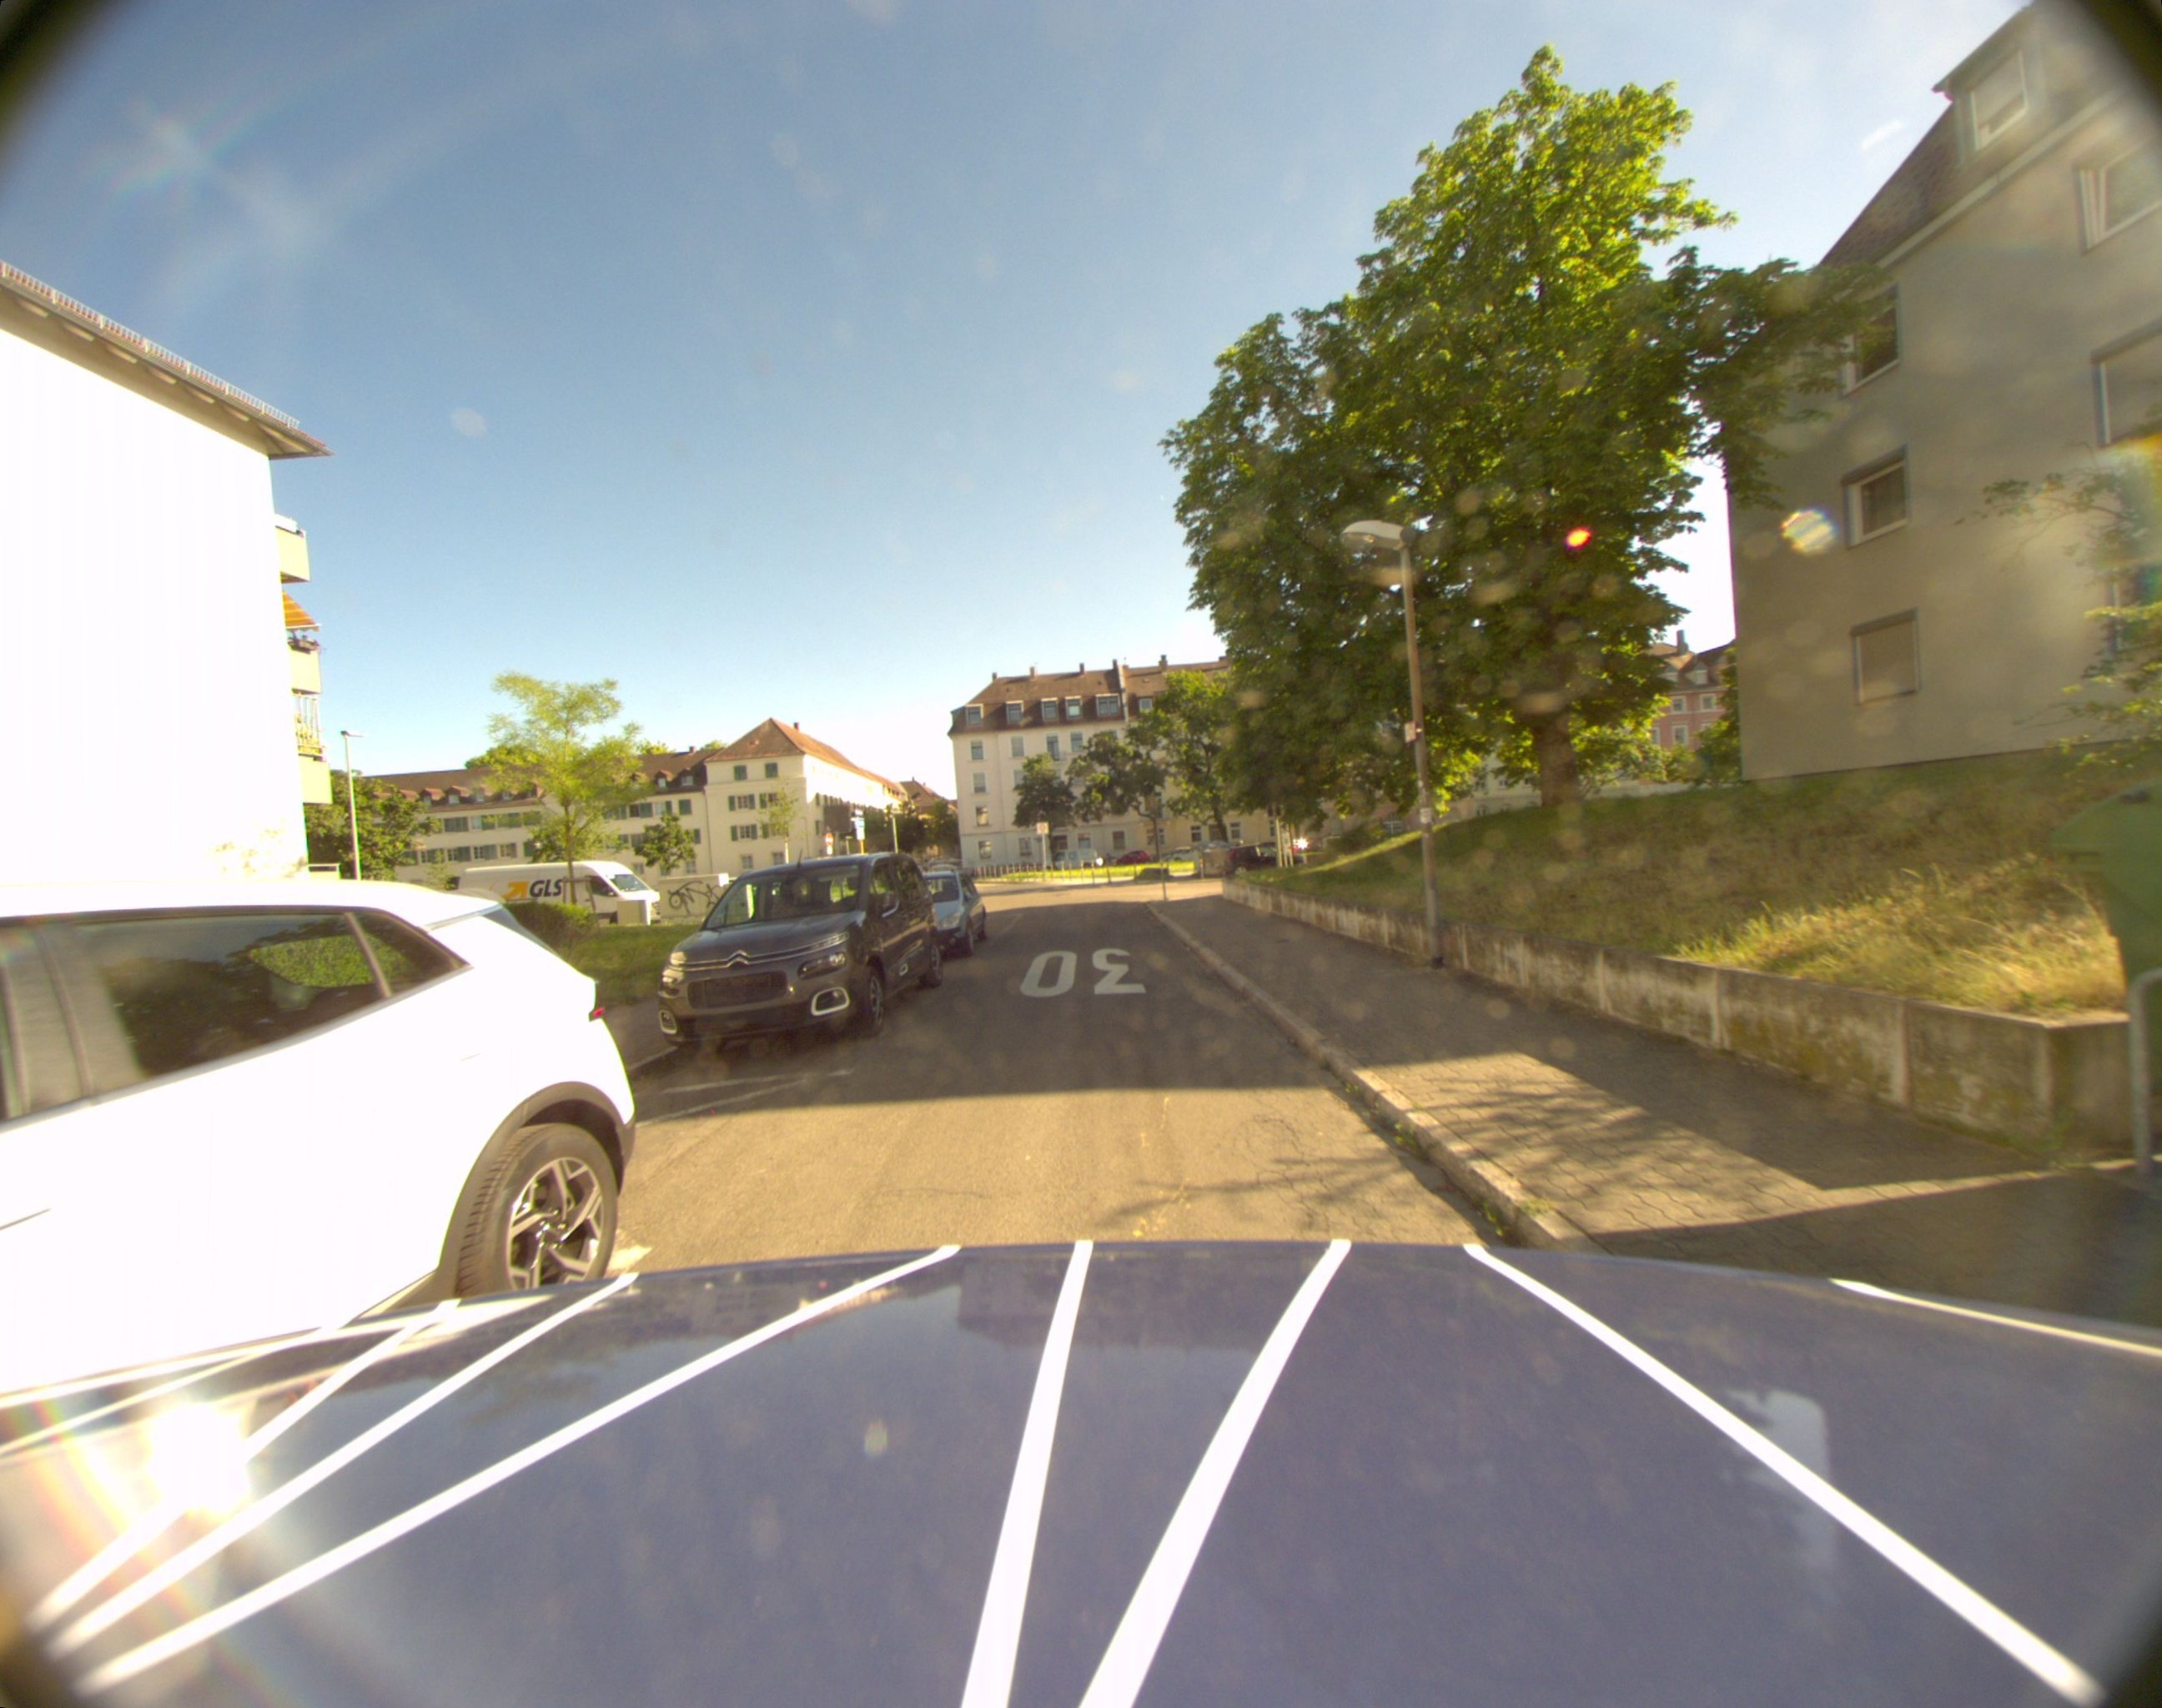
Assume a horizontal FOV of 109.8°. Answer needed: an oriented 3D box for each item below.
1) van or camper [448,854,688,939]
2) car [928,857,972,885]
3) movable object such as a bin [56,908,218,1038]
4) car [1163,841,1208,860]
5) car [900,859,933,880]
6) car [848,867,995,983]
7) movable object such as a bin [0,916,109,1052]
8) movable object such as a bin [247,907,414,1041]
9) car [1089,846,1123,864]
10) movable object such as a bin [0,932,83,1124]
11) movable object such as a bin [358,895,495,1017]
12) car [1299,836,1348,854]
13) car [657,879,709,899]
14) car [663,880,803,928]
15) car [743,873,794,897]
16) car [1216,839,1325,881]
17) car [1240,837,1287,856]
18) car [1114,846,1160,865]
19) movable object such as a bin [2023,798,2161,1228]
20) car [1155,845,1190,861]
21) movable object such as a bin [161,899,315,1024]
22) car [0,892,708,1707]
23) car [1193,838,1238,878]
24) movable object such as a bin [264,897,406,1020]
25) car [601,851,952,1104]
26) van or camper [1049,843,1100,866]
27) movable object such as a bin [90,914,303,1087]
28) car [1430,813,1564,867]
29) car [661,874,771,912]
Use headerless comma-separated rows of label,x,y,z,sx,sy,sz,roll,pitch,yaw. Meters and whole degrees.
van or camper,-18.016,1.444,26.907,6.980,2.486,2.177,-3,1,2
car,-7.769,0.991,44.744,1.674,1.433,3.794,-4,0,-22
movable object such as a bin,-12.365,1.529,9.997,0.866,1.511,0.922,-3,1,-1
car,9.261,-0.311,67.499,3.787,1.437,1.625,-3,1,2
car,-12.171,1.147,56.166,1.674,1.369,3.794,-4,0,-22
car,-2.711,1.140,13.824,1.728,1.528,3.951,-7,0,-1
movable object such as a bin,-12.816,1.537,8.846,1.239,1.439,1.278,-3,1,-2
movable object such as a bin,-8.400,1.310,8.554,0.921,1.318,0.866,-4,1,-1
car,2.371,0.102,73.198,3.192,1.499,1.545,-3,1,0
movable object such as a bin,-8.859,1.403,5.906,0.866,1.439,0.922,-3,1,-3
movable object such as a bin,-8.383,1.276,9.781,0.921,1.390,0.866,-4,1,-1
car,21.348,-0.786,67.060,3.787,1.343,1.625,-3,1,2
car,-38.601,3.418,73.721,3.997,1.630,1.647,-3,1,0
car,-12.082,1.708,26.528,3.996,1.342,1.802,-3,1,2
car,-30.235,3.030,73.498,3.997,2.002,2.000,-3,1,-1
car,7.964,0.238,32.206,4.140,1.488,1.729,-3,1,1
car,16.181,-0.628,67.513,3.787,1.437,1.625,-3,1,2
car,4.976,0.112,67.580,3.996,1.477,1.722,-3,1,2
movable object such as a bin,4.304,0.494,2.279,1.318,1.451,1.198,-8,1,1
car,8.787,-0.104,73.161,3.192,1.311,1.545,-3,1,0
movable object such as a bin,-10.883,1.356,9.856,0.866,1.439,0.922,-3,1,-3
car,-2.707,1.063,1.225,1.805,1.583,4.581,-6,0,0
car,6.228,0.163,35.383,1.678,1.645,3.305,-3,0,5
movable object such as a bin,-9.770,1.331,9.995,0.866,1.439,0.922,-3,1,-3
car,-2.794,0.980,8.201,1.855,1.790,4.253,-7,0,0
van or camper,-0.594,0.033,67.952,4.355,1.852,2.000,-3,1,-1
movable object such as a bin,-8.451,1.360,7.312,0.921,1.439,0.866,-4,1,-1
car,16.004,-0.548,29.368,4.140,1.730,1.729,-4,2,0
car,-15.766,1.688,32.936,3.996,1.342,1.521,-3,1,2
